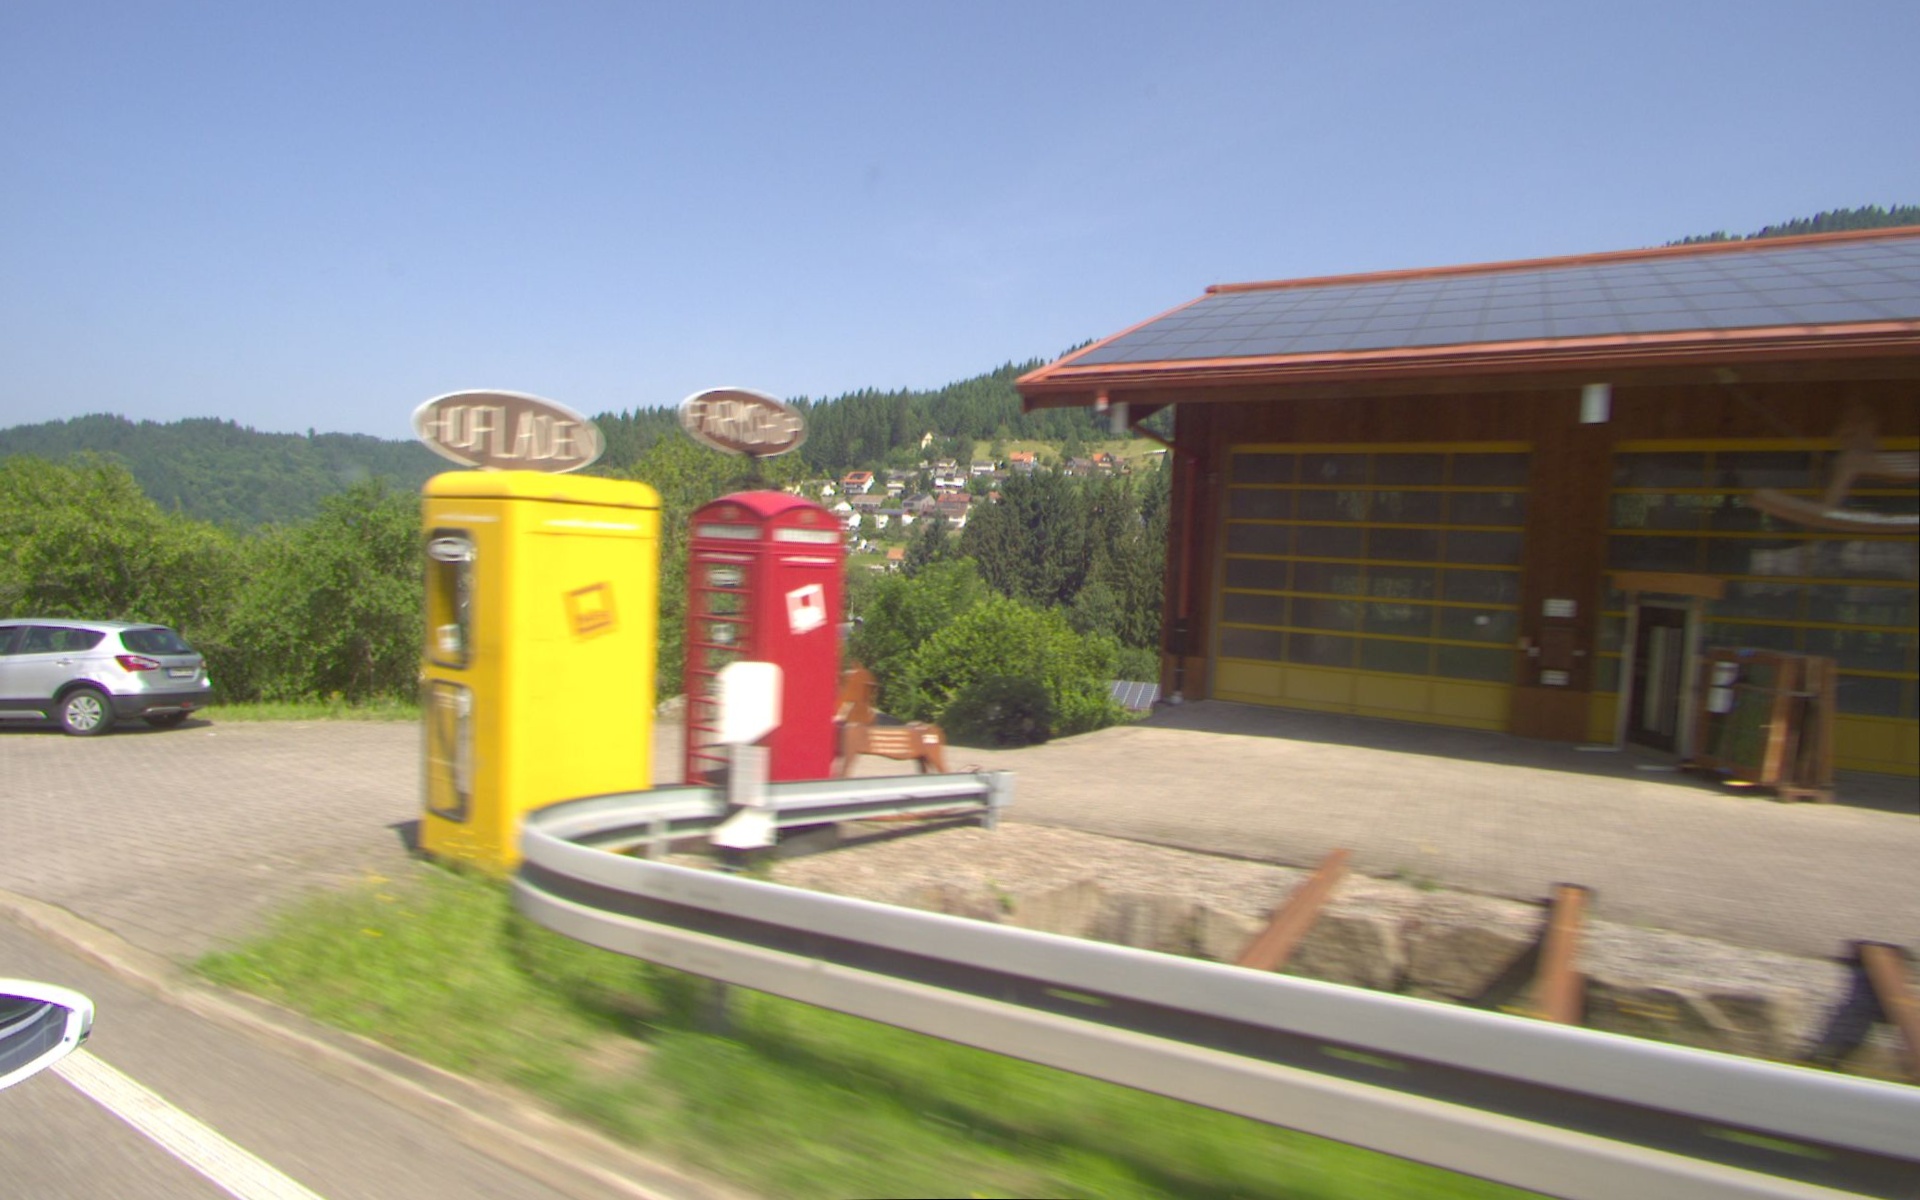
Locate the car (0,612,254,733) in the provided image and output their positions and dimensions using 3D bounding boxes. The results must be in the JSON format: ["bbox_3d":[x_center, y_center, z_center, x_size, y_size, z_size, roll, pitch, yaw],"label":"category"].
[{"bbox_3d":[-13.150,0.994,14.503,4.376,1.591,1.906,2,-1,-5],"label":"car"}]
